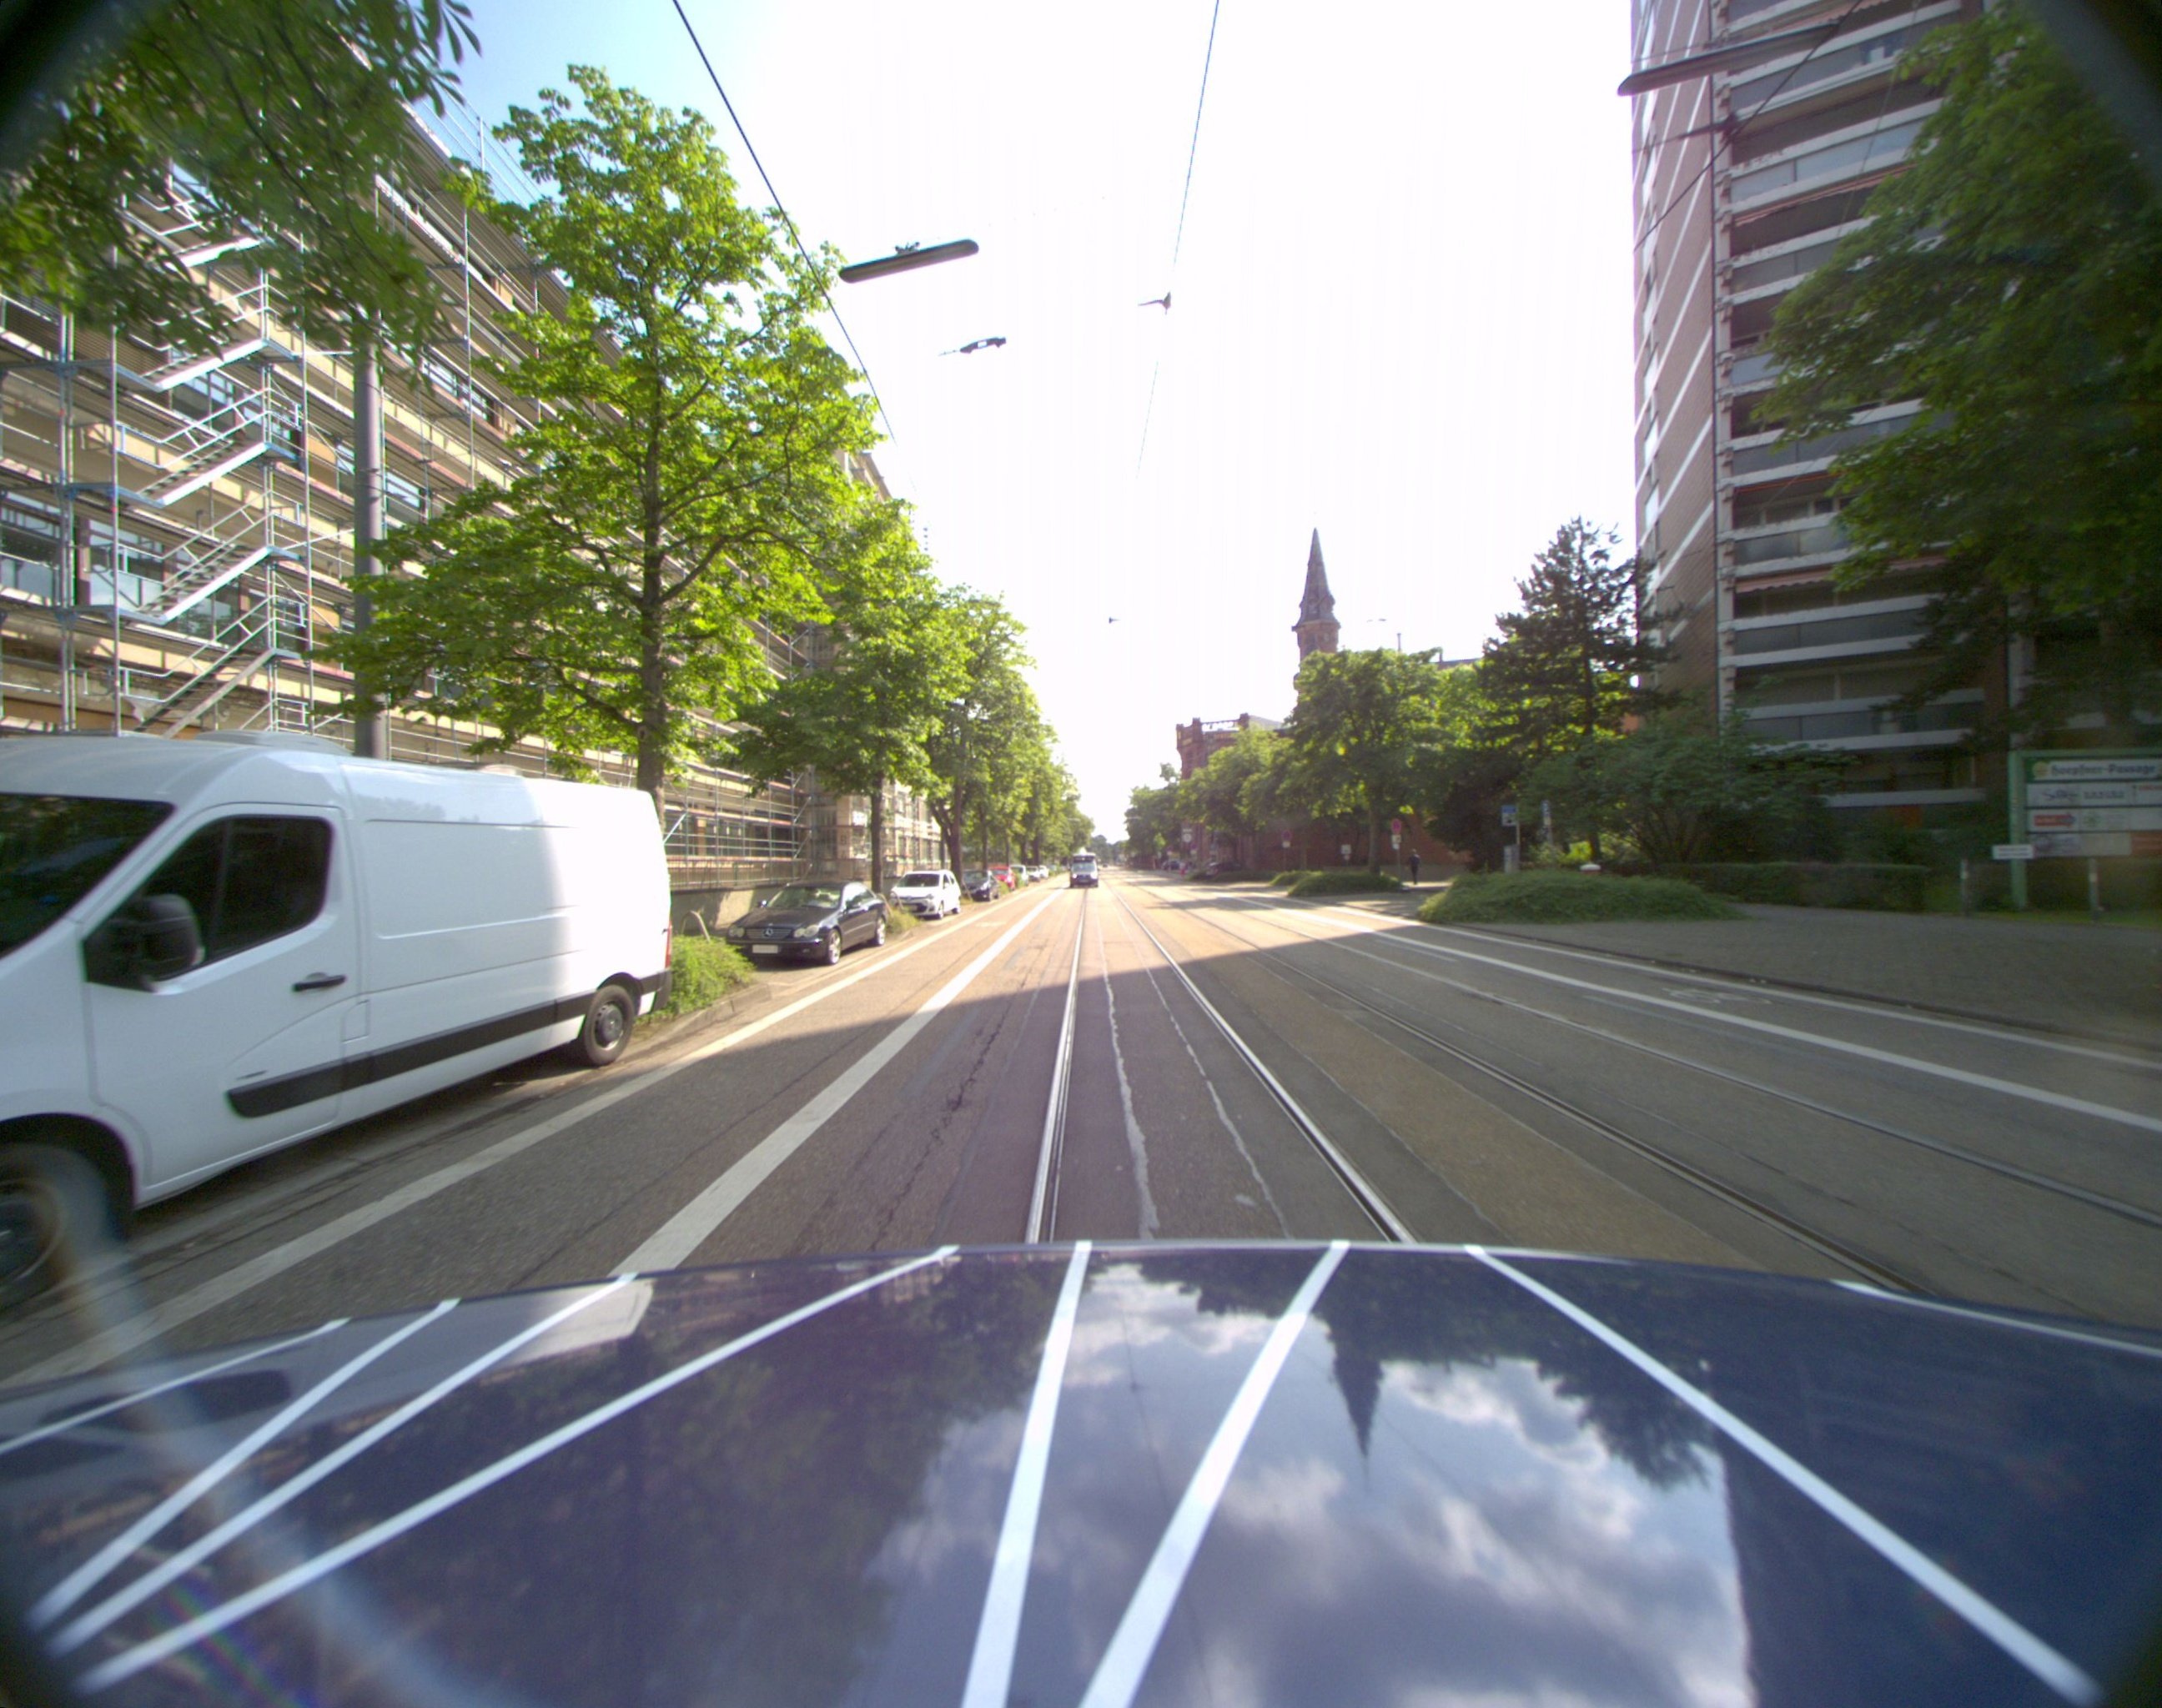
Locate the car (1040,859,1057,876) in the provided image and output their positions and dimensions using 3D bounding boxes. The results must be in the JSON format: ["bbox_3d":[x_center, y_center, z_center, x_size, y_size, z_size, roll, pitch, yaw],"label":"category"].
[{"bbox_3d":[-3.368,1.400,79.405,1.532,1.565,3.647,-2,1,1],"label":"car"}]

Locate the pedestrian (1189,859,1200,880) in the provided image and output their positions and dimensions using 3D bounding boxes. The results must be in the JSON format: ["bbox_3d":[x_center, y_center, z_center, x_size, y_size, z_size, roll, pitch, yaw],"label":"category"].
[{"bbox_3d":[11.346,1.541,76.108,0.904,2.002,1.057,-2,1,4],"label":"pedestrian"}]

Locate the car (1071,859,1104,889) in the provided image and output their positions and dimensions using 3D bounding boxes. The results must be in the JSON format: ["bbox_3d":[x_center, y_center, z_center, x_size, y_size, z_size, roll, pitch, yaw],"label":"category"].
[{"bbox_3d":[0.352,1.206,48.155,1.945,1.763,4.837,-1,0,-1],"label":"car"}]

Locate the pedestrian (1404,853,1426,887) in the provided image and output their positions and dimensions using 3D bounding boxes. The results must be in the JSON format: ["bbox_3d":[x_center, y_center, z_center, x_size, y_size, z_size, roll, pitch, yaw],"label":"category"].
[{"bbox_3d":[16.504,0.764,37.540,0.764,1.620,0.738,-2,1,10],"label":"pedestrian"}]

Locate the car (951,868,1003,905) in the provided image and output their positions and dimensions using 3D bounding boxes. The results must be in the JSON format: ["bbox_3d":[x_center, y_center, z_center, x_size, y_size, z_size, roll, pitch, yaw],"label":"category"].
[{"bbox_3d":[-4.599,1.394,34.020,1.737,1.390,3.630,-2,1,1],"label":"car"}]

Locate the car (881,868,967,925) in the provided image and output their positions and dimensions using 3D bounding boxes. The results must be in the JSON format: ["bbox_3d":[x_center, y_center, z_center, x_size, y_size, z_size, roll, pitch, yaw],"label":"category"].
[{"bbox_3d":[-4.837,1.272,23.926,1.568,1.448,3.896,-2,1,5],"label":"car"}]

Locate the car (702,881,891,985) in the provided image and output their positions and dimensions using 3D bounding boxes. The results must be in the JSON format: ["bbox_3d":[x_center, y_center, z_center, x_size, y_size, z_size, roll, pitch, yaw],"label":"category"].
[{"bbox_3d":[-4.979,1.301,14.029,1.739,1.364,4.507,1,1,1],"label":"car"}]

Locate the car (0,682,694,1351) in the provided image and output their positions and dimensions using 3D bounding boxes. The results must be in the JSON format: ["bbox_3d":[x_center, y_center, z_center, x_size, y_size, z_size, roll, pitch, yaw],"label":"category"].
[{"bbox_3d":[-5.114,0.582,4.815,2.128,2.552,5.919,1,1,2],"label":"car"}]

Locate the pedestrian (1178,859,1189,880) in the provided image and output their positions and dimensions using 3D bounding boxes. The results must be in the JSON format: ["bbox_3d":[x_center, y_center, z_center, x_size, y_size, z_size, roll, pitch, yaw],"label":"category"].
[{"bbox_3d":[10.275,1.524,76.046,0.904,2.002,1.057,-2,1,4],"label":"pedestrian"}]

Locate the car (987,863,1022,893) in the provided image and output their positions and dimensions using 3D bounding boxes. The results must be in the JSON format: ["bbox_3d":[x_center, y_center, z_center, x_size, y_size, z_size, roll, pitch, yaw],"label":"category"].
[{"bbox_3d":[-4.472,1.366,44.814,1.532,1.565,3.647,-2,1,1],"label":"car"}]
